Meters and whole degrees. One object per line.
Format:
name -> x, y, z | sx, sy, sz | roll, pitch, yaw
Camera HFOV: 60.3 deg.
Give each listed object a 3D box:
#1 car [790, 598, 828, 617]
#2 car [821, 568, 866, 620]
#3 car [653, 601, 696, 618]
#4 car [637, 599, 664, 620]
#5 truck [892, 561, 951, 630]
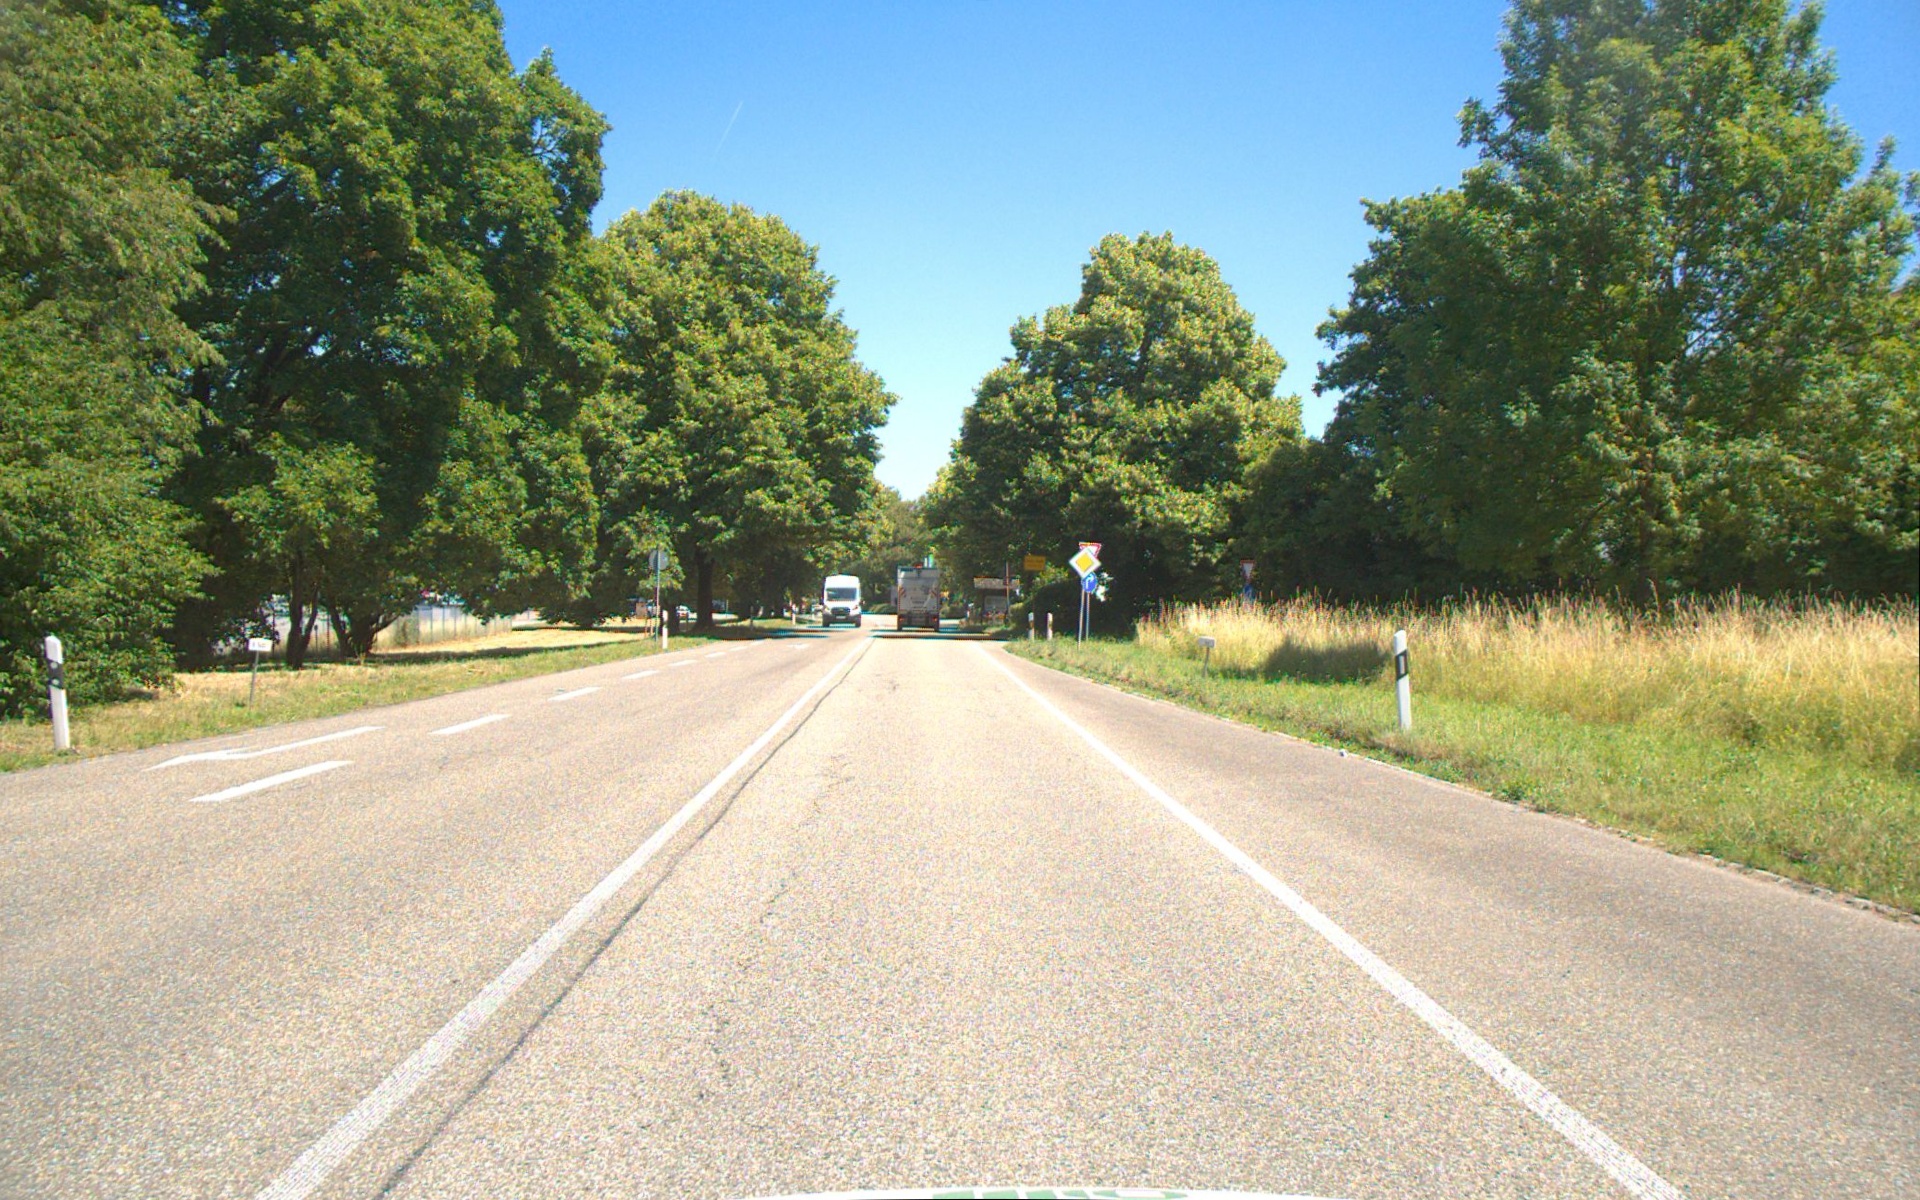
car -> -15.289, 0.746, 167.352 | 1.971, 1.889, 5.265 | 0, 0, -29
car -> -6.233, -0.281, 88.946 | 2.031, 2.673, 6.782 | 0, 0, -1
car -> -23.265, 0.756, 134.839 | 3.358, 1.386, 1.332 | 0, 0, 30
car -> -24.112, 0.759, 128.827 | 1.708, 1.613, 3.982 | 0, 0, -16
truck -> -1.795, -0.232, 78.851 | 2.481, 3.190, 5.363 | 0, 1, 2
